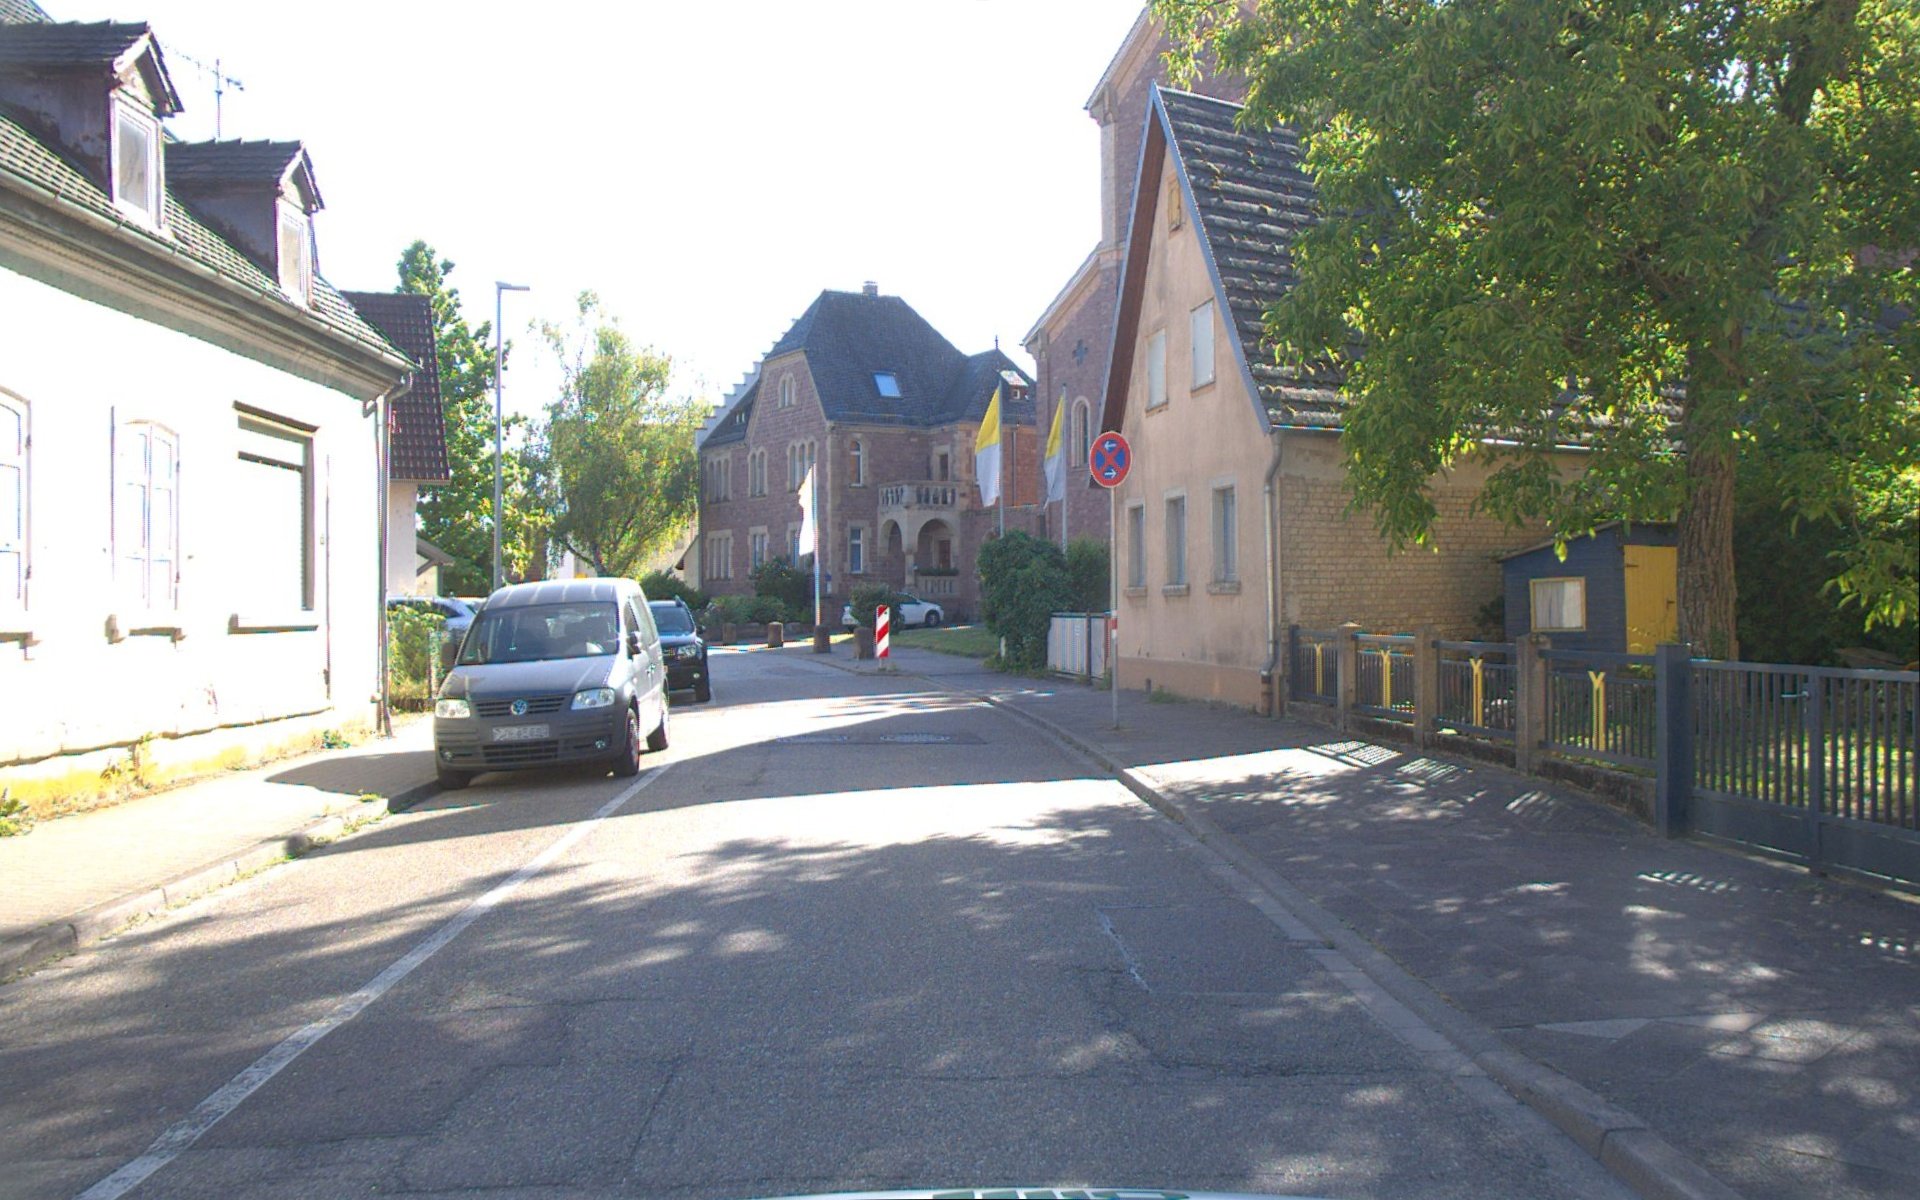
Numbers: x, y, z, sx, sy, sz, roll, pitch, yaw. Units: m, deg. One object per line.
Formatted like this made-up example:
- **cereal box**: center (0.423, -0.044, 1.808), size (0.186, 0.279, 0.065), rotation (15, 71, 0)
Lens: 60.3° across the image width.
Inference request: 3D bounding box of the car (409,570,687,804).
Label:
- **car**: center (-3.814, 0.711, 16.035), size (1.790, 1.845, 4.198), rotation (-4, 1, -4)

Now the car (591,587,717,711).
- **car**: center (-5.082, 0.737, 27.290), size (1.794, 1.762, 4.189), rotation (-4, 1, -12)

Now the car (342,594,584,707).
- **car**: center (-9.299, 0.899, 31.018), size (4.127, 1.762, 1.821), rotation (-4, 1, -20)

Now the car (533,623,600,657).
- **car**: center (-17.617, 1.768, 73.966), size (1.696, 1.425, 4.201), rotation (-2, 0, -32)

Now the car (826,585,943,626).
- **car**: center (-2.859, 0.207, 63.215), size (4.197, 1.425, 1.698), rotation (-2, 0, -34)

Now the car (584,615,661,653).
- **car**: center (-13.725, 1.364, 67.046), size (1.696, 1.425, 4.201), rotation (-2, 0, -32)
